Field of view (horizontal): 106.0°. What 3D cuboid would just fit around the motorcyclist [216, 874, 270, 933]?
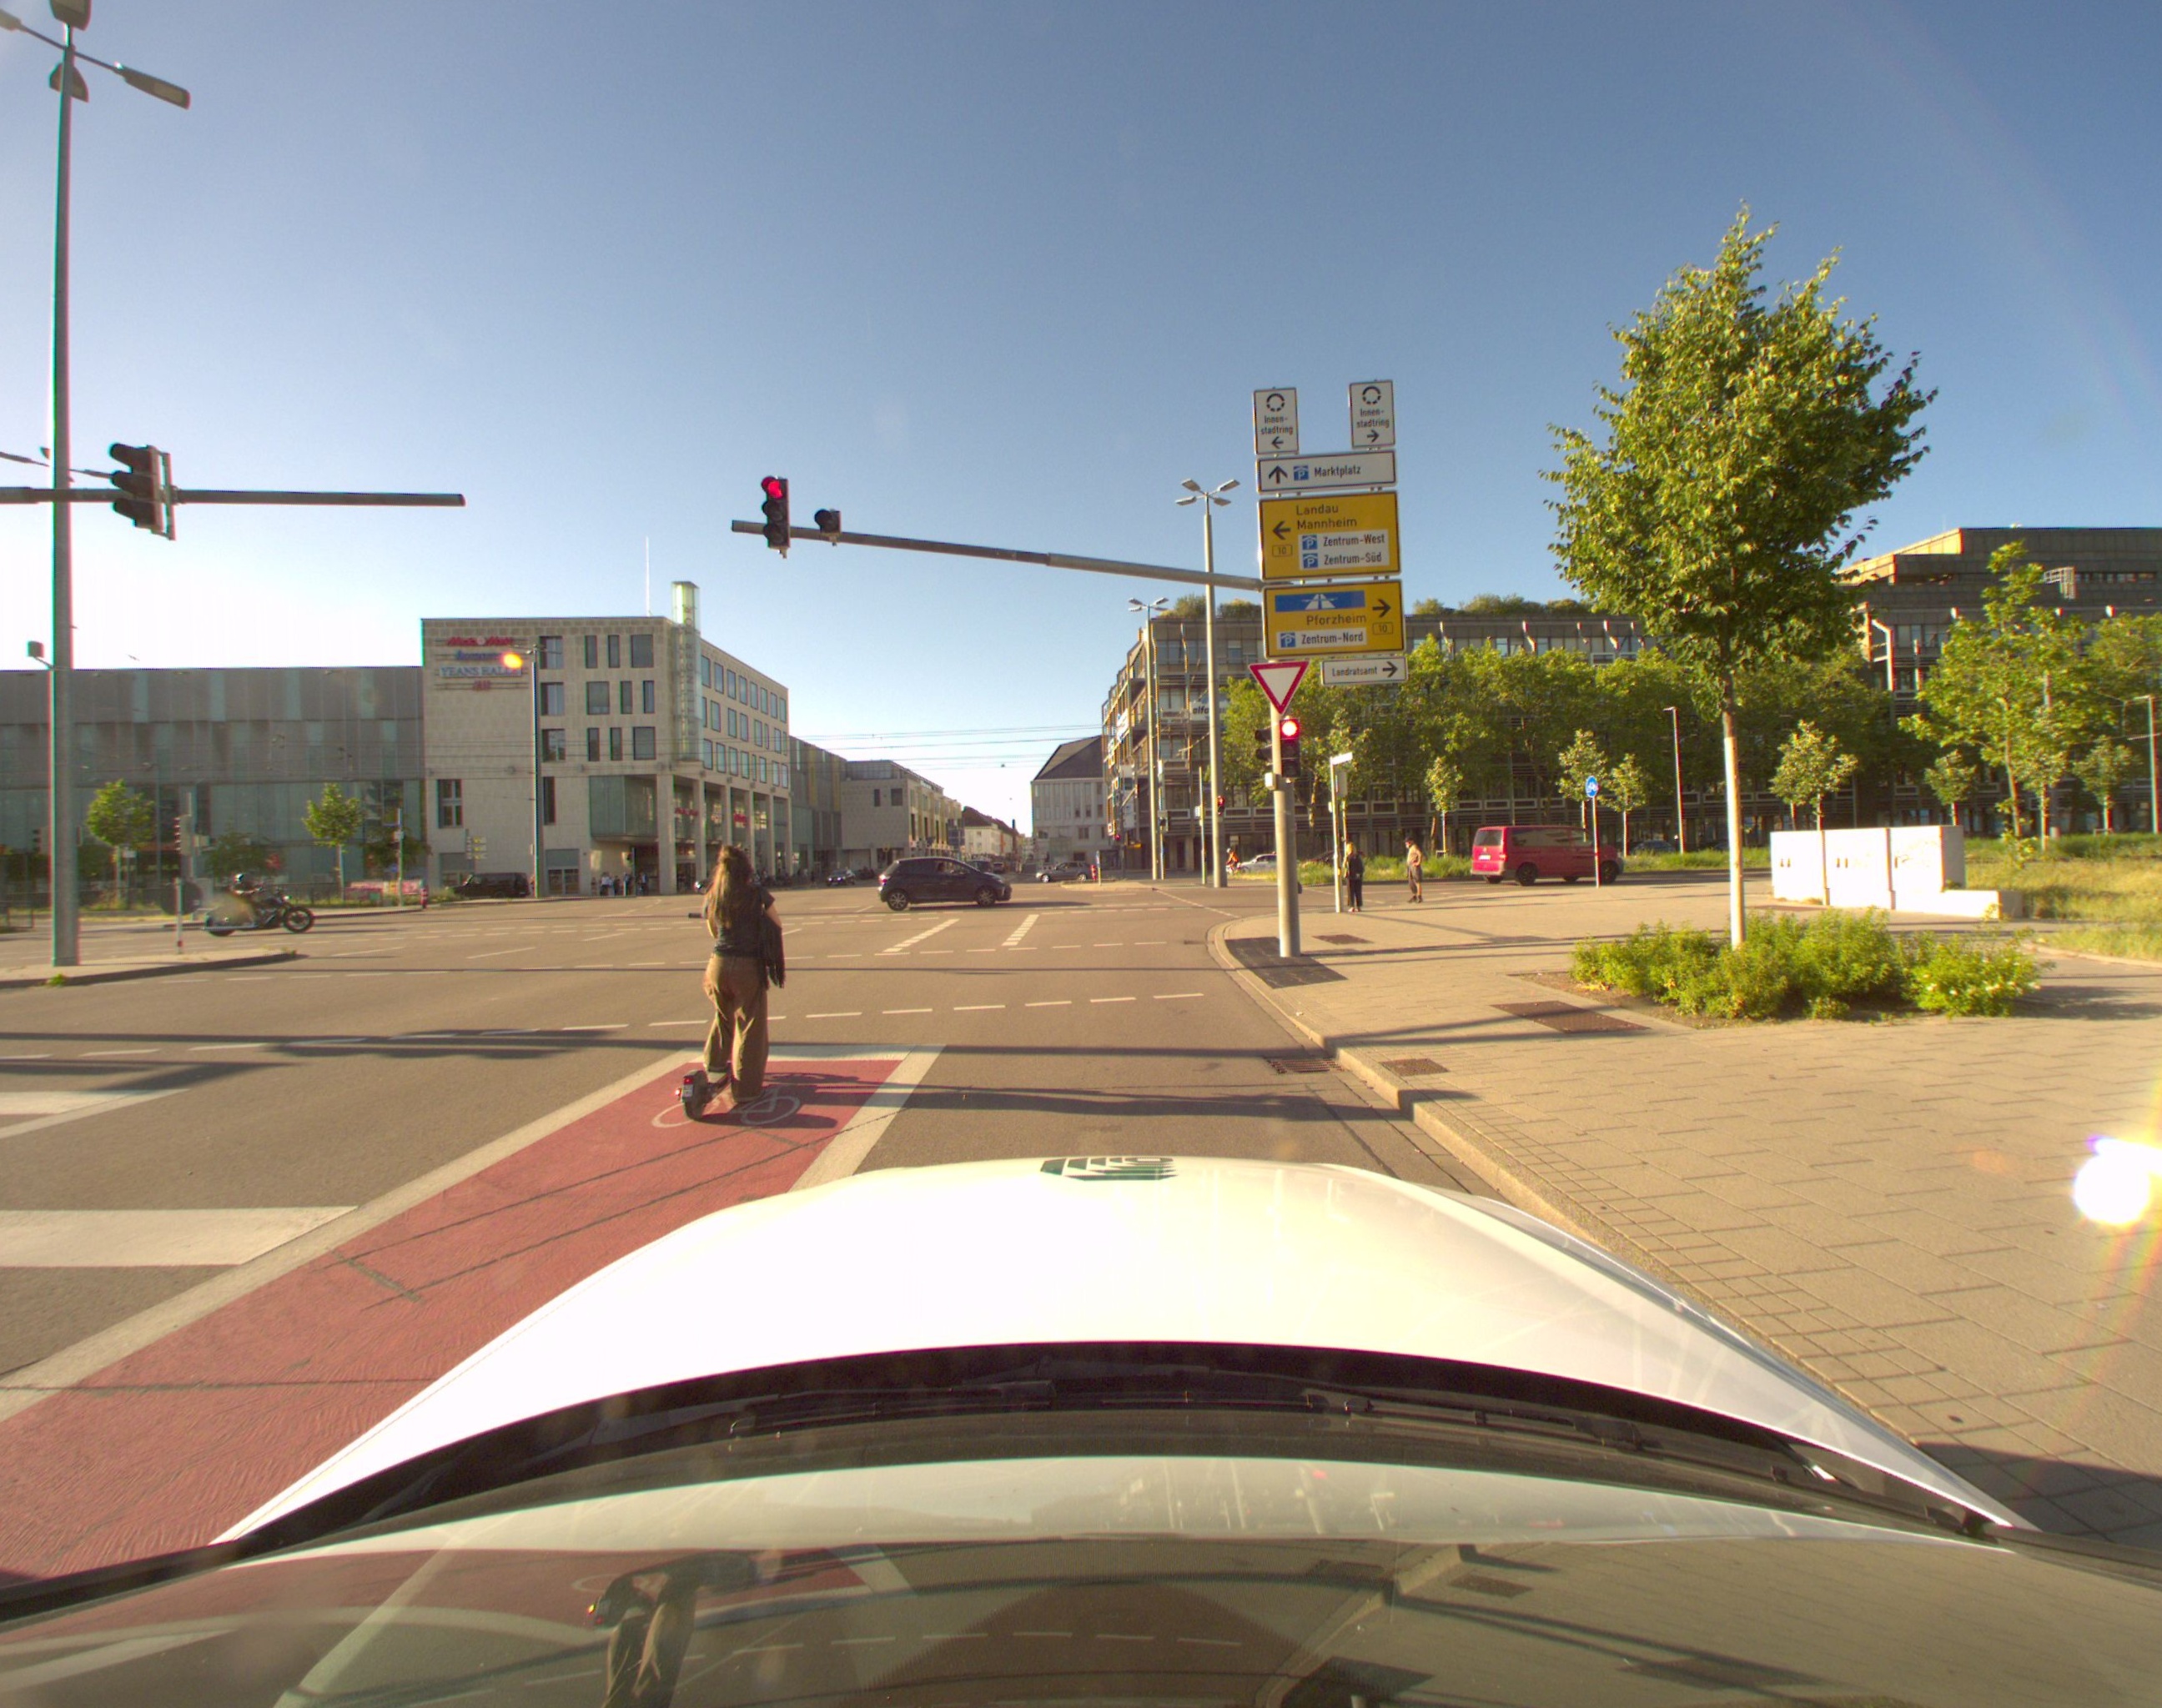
[{"bbox_3d":[-21.350,1.238,20.757,0.658,1.423,0.645,-2,1,-15],"label":"motorcyclist"}]

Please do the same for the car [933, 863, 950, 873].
[{"bbox_3d":[-20.929,2.080,122.259,1.652,1.458,3.543,-2,0,2],"label":"car"}]

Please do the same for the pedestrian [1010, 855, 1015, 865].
[{"bbox_3d":[-13.900,1.193,165.258,0.907,1.965,0.823,0,-1,1],"label":"pedestrian"}]

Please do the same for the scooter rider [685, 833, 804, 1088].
[{"bbox_3d":[-2.129,0.645,5.202,0.552,1.530,0.448,-2,0,-7],"label":"scooter rider"}]

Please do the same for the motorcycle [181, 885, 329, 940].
[{"bbox_3d":[-21.052,1.465,20.819,2.599,1.208,0.726,-2,1,-16],"label":"motorcycle"}]

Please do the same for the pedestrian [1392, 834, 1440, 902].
[{"bbox_3d":[8.667,0.360,21.095,0.869,1.706,0.768,-2,0,0],"label":"pedestrian"}]

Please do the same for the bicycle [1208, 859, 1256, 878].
[{"bbox_3d":[8.687,0.820,47.051,2.561,0.975,1.047,-2,0,-1],"label":"bicycle"}]

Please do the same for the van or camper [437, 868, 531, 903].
[{"bbox_3d":[-38.493,2.002,52.598,4.404,2.013,1.993,-2,0,-3],"label":"van or camper"}]

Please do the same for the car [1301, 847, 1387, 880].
[{"bbox_3d":[14.910,0.517,46.270,4.287,1.684,1.820,-2,0,-9],"label":"car"}]

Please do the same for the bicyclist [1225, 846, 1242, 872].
[{"bbox_3d":[8.828,0.307,47.067,0.820,1.474,0.652,-2,0,-2],"label":"bicyclist"}]

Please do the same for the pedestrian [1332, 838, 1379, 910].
[{"bbox_3d":[6.356,0.454,18.889,0.763,1.614,0.874,-2,0,0],"label":"pedestrian"}]

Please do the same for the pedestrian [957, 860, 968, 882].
[{"bbox_3d":[-9.240,1.310,63.720,0.697,1.688,0.620,-2,0,2],"label":"pedestrian"}]

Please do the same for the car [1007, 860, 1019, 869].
[{"bbox_3d":[-12.229,1.884,146.352,1.652,1.458,3.543,-2,0,2],"label":"car"}]

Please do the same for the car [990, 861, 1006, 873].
[{"bbox_3d":[-11.014,1.751,108.523,1.652,1.458,3.543,-2,0,2],"label":"car"}]

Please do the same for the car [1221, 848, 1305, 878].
[{"bbox_3d":[11.332,0.554,50.966,4.831,1.684,1.824,-2,0,-2],"label":"car"}]

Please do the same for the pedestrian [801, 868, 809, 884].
[{"bbox_3d":[-29.923,2.407,88.396,0.465,1.729,0.699,-1,-1,40],"label":"pedestrian"}]

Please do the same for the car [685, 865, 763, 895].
[{"bbox_3d":[-22.062,1.574,50.387,3.973,1.684,1.761,-2,0,0],"label":"car"}]

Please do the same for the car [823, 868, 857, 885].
[{"bbox_3d":[-20.825,1.935,70.435,1.670,1.357,4.021,-2,0,1],"label":"car"}]

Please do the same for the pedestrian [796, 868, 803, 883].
[{"bbox_3d":[-31.556,2.368,91.211,0.465,1.683,0.524,-1,-1,40],"label":"pedestrian"}]

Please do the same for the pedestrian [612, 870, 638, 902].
[{"bbox_3d":[-25.132,1.764,44.905,0.821,1.675,1.004,-2,0,-2],"label":"pedestrian"}]

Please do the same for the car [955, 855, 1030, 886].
[{"bbox_3d":[-5.396,1.010,50.311,4.392,1.684,1.824,-2,0,-2],"label":"car"}]

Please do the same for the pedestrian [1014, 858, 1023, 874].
[{"bbox_3d":[-7.082,1.328,92.104,0.896,1.782,0.809,-2,0,1],"label":"pedestrian"}]

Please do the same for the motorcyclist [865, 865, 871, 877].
[{"bbox_3d":[-25.949,2.075,99.173,0.627,1.406,0.661,0,-1,-7],"label":"motorcyclist"}]

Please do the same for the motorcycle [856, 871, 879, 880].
[{"bbox_3d":[-25.919,2.607,98.896,2.600,0.993,1.113,0,-1,-8],"label":"motorcycle"}]

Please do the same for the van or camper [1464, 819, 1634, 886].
[{"bbox_3d":[15.673,-0.062,27.359,4.830,2.013,1.999,-2,0,-12],"label":"van or camper"}]

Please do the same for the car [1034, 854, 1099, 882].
[{"bbox_3d":[-0.940,0.938,54.428,3.957,1.684,1.833,-2,0,15],"label":"car"}]

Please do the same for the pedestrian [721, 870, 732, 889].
[{"bbox_3d":[-29.990,2.149,68.835,0.590,1.646,0.629,-2,0,1],"label":"pedestrian"}]

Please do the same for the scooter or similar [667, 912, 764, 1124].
[{"bbox_3d":[-2.200,0.941,4.963,0.306,1.107,0.835,-2,0,-9],"label":"scooter or similar"}]

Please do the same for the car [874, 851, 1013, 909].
[{"bbox_3d":[-4.071,0.745,24.098,3.865,1.510,1.664,-2,0,-13],"label":"car"}]

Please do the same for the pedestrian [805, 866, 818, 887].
[{"bbox_3d":[-21.084,1.748,63.739,0.772,1.638,0.627,-2,0,8],"label":"pedestrian"}]
